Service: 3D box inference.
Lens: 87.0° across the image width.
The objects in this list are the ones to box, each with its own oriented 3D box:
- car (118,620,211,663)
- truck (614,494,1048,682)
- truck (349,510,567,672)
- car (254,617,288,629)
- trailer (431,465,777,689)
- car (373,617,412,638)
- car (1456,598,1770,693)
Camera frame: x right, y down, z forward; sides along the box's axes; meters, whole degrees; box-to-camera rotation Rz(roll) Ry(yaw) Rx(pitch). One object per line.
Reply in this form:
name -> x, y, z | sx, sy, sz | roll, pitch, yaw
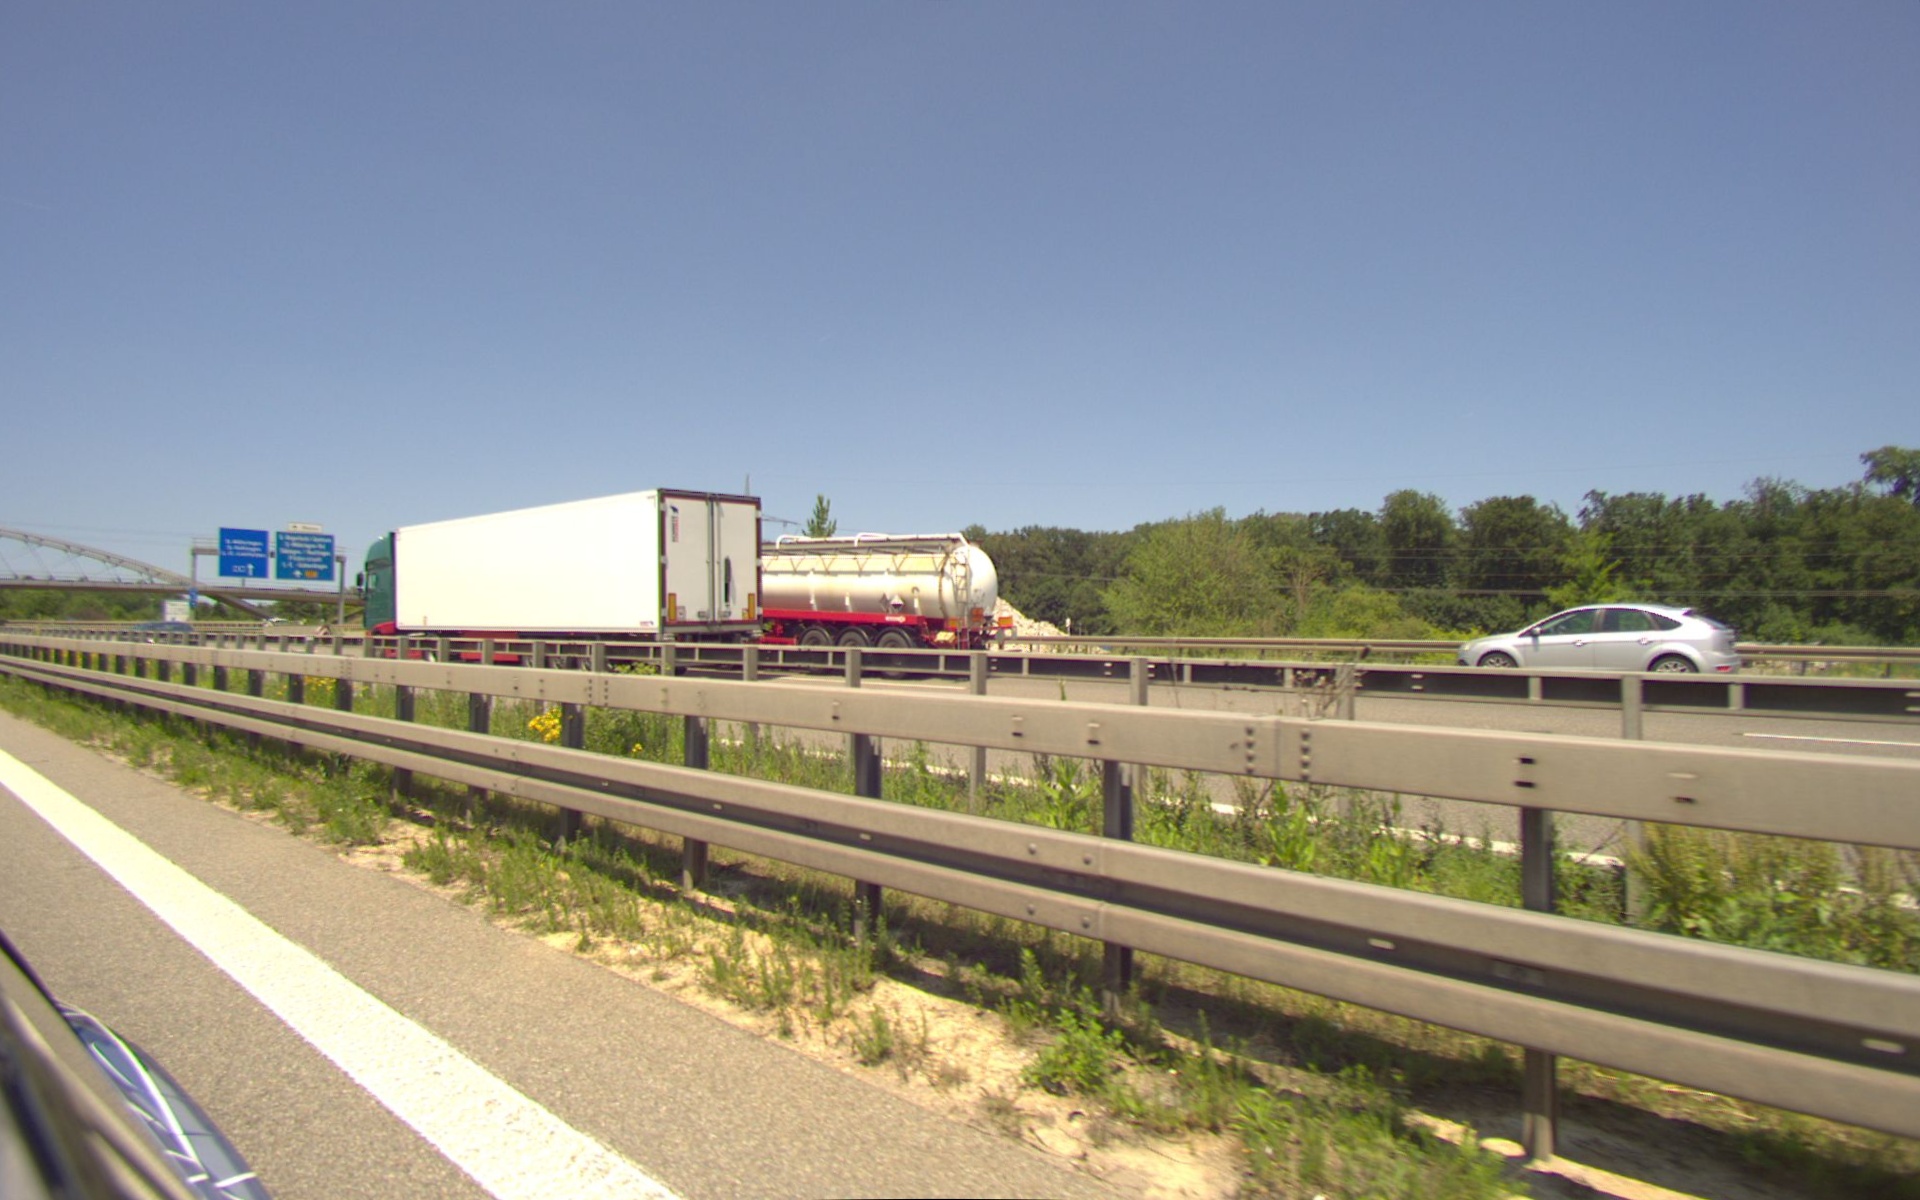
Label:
car -> -28.242, 1.446, 35.898 | 4.288, 1.401, 1.786 | -1, -1, 40
truck -> -3.942, -0.147, 25.898 | 12.891, 3.814, 3.186 | -1, -1, 40
truck -> -14.757, -0.198, 29.445 | 7.592, 4.151, 2.937 | -1, -1, 40
car -> -69.895, 2.311, 102.653 | 4.398, 1.212, 1.661 | -1, -1, 40
trailer -> -9.038, -0.400, 24.528 | 10.725, 4.405, 2.925 | -1, -1, 40
car -> -43.991, 2.122, 78.423 | 1.658, 1.625, 4.407 | 0, -1, -43
car -> 11.369, 0.745, 17.812 | 4.437, 1.457, 1.733 | -1, -1, 41
